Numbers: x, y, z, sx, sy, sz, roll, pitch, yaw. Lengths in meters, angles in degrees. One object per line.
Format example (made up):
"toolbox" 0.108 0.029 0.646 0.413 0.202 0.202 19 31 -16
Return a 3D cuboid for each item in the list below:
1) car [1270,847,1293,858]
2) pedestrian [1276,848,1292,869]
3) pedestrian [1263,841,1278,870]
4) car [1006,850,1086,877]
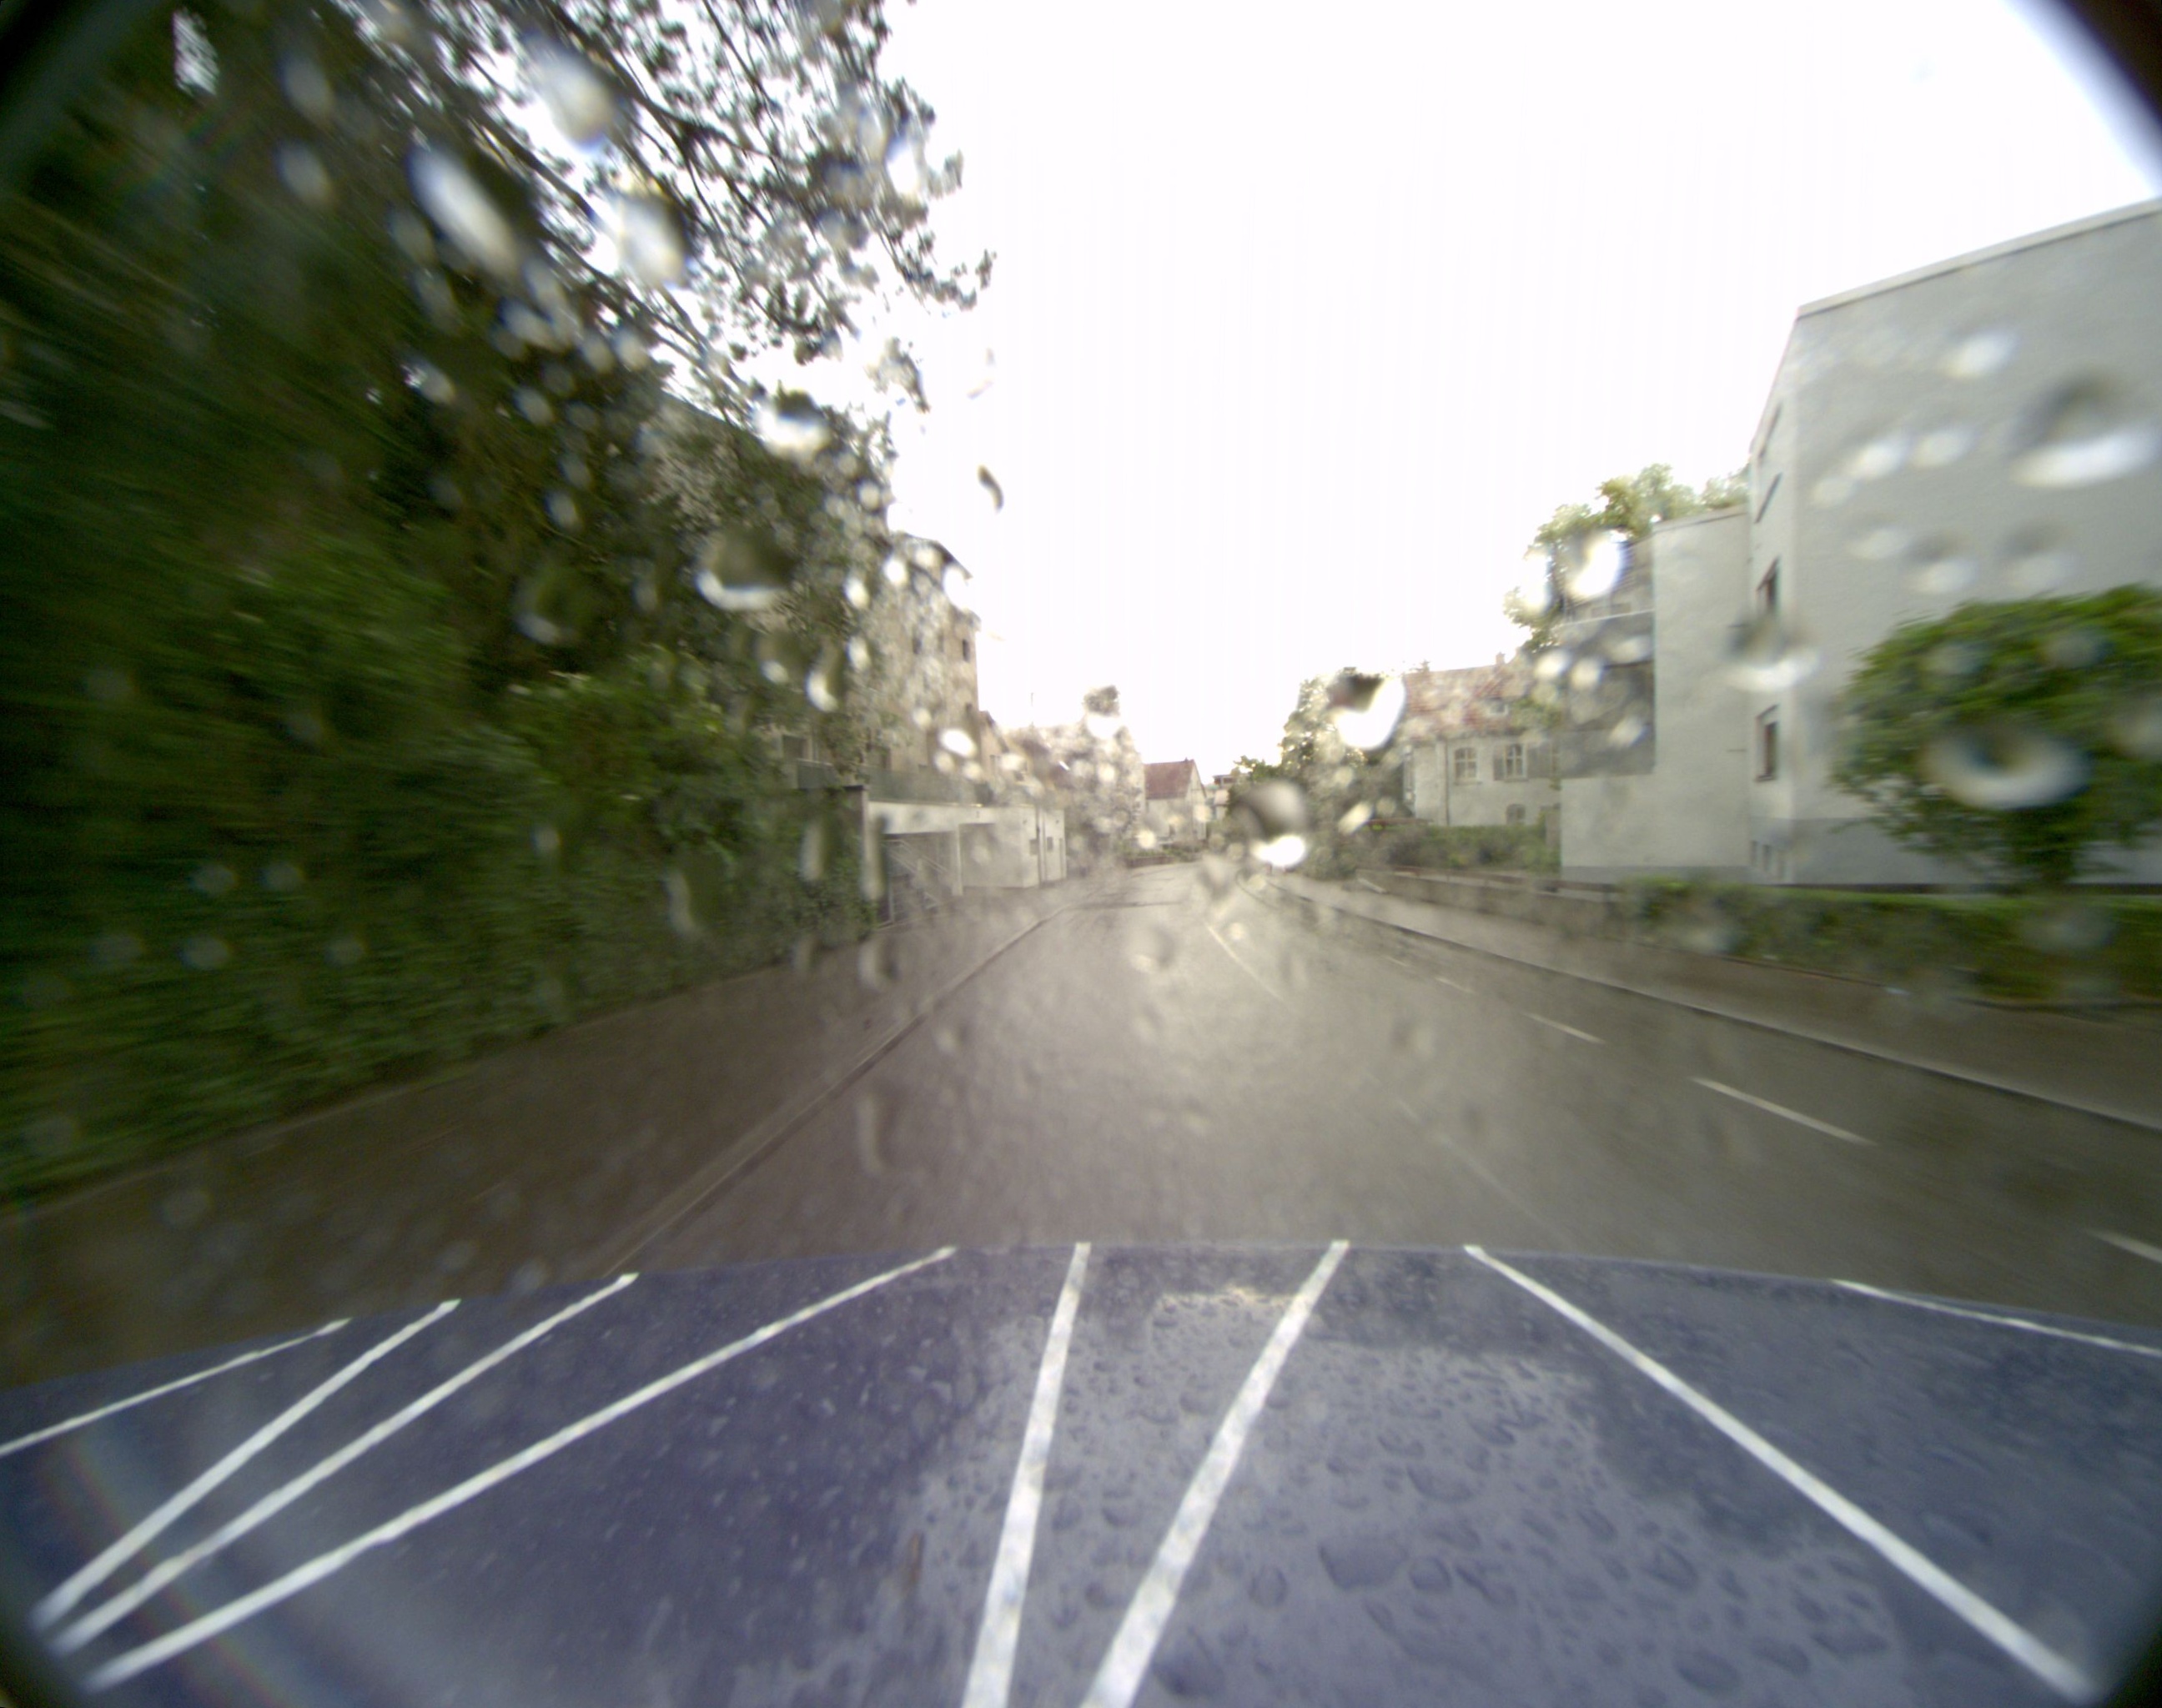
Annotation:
"car" 21.867 -0.178 82.797 1.680 1.140 4.007 -1 1 27
"pedestrian" 11.501 0.246 43.053 0.757 1.173 1.040 -2 1 12
"pedestrian" 10.965 0.103 44.057 0.757 1.634 1.040 -2 1 12
"car" -1.986 0.526 42.792 3.990 1.449 2.003 -1 1 22
